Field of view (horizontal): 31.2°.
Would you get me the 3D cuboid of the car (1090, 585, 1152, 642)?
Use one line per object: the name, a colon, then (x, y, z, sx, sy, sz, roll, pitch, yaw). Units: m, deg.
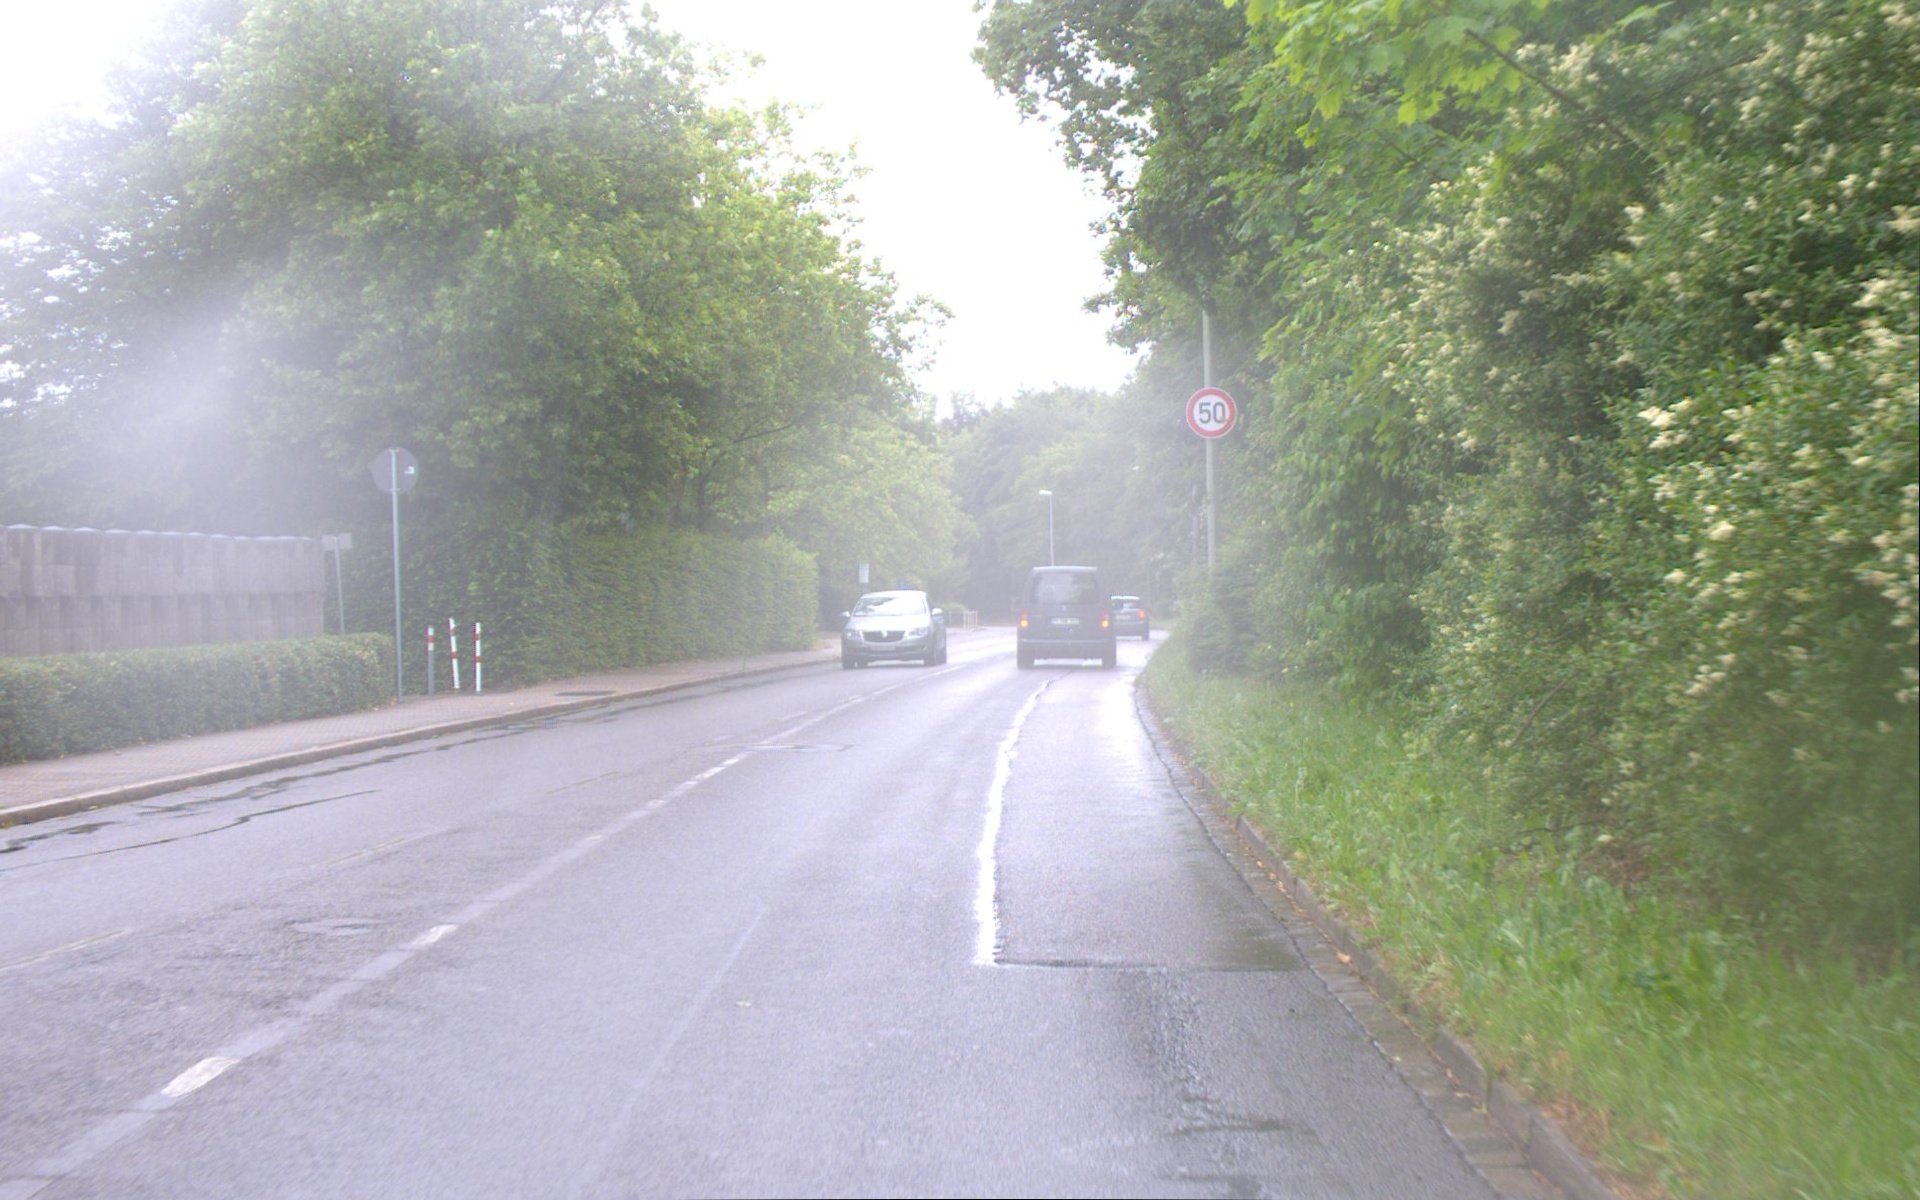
car: (5.315, 0.430, 113.739, 1.950, 1.744, 4.000, -1, 1, 2)

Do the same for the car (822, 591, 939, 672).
car: (-1.493, 0.587, 66.324, 1.993, 1.415, 4.485, -2, 0, 1)

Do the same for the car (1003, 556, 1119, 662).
car: (1.881, 0.132, 62.745, 1.994, 1.787, 4.000, 1, 1, 3)
